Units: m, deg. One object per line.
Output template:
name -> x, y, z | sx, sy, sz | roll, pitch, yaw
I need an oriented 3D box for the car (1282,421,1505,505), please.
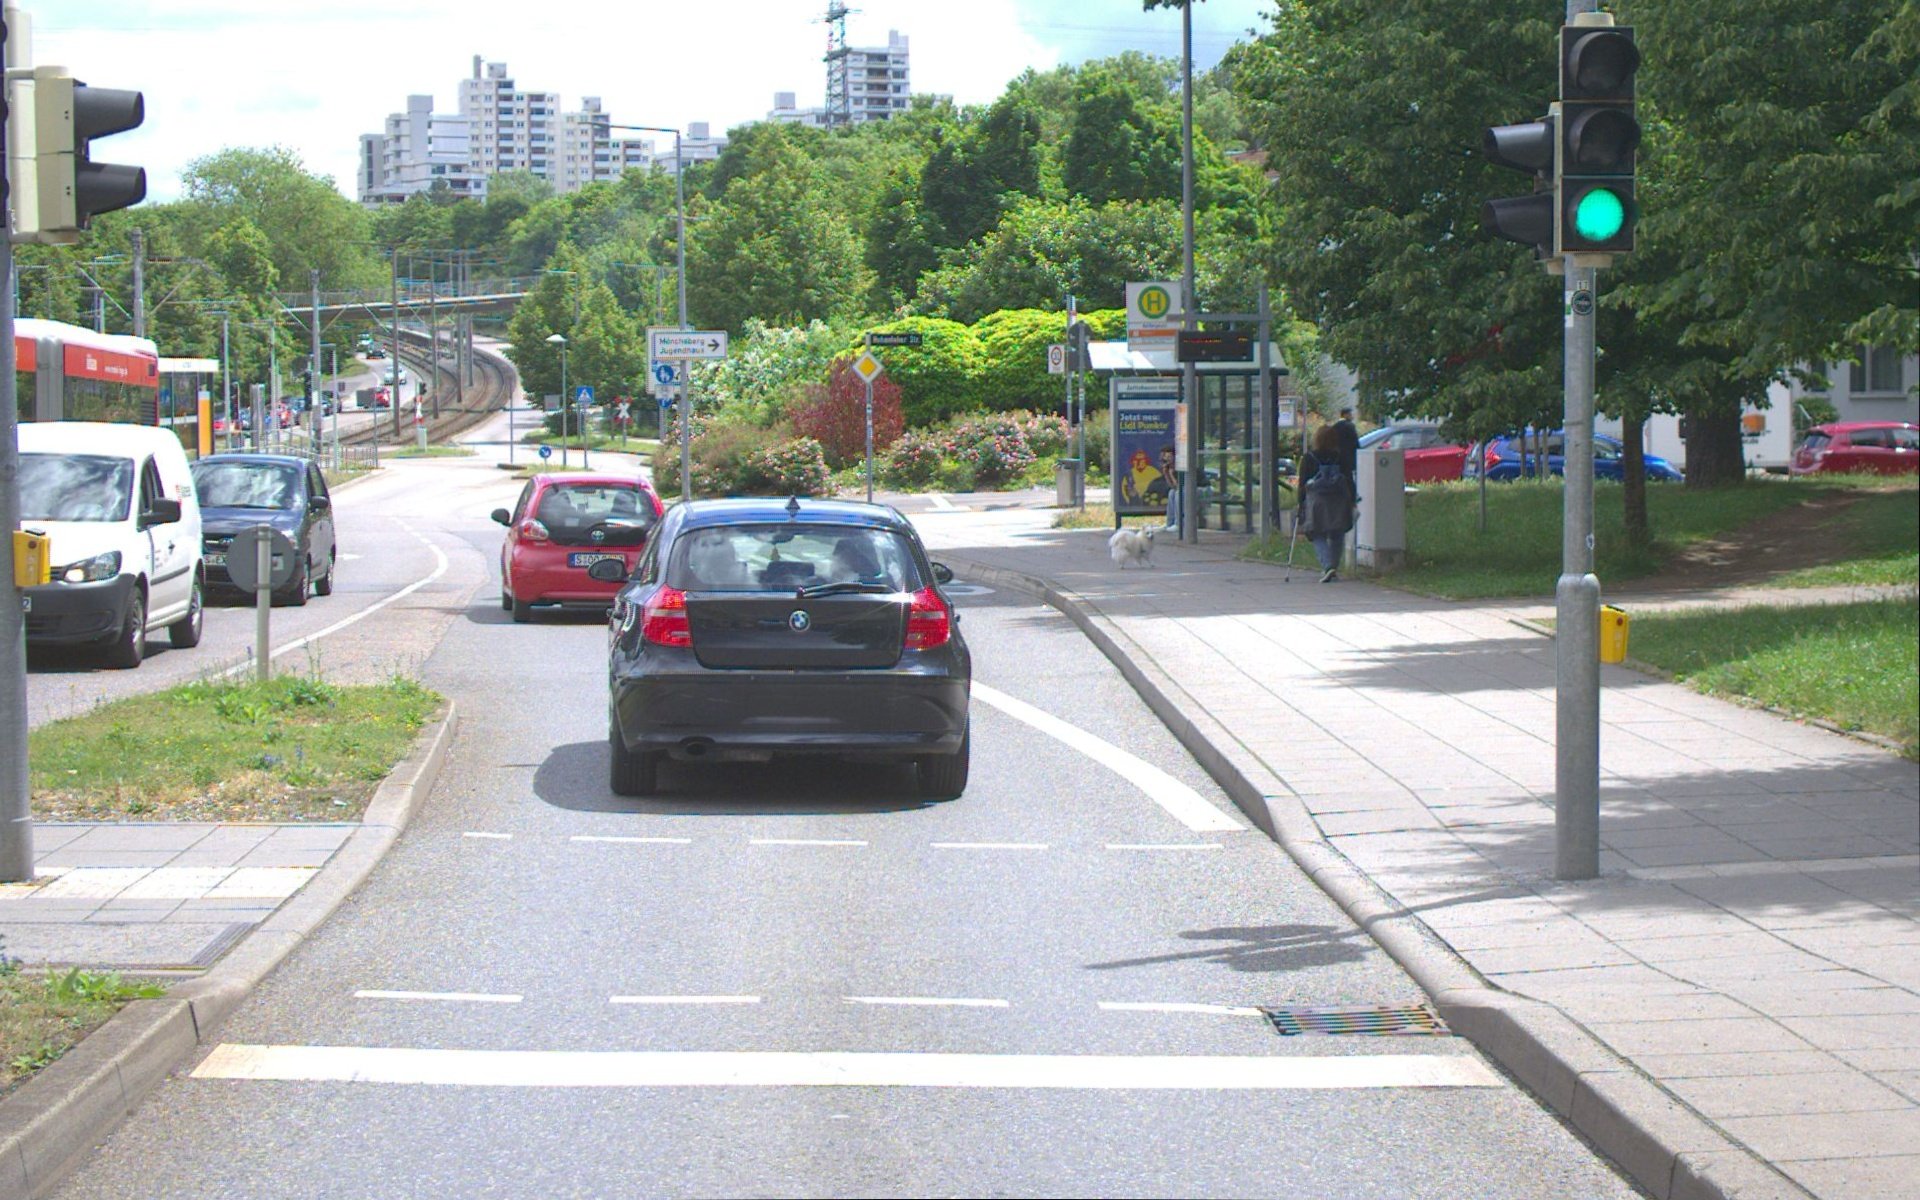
car -> 8.903, -2.840, 70.775 | 4.155, 1.556, 2.001 | -1, 5, -9

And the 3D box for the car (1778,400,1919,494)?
car -> 16.954, -2.789, 62.343 | 3.686, 1.638, 1.830 | -1, 4, -6

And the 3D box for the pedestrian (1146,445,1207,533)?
pedestrian -> 3.165, -1.626, 50.313 | 0.827, 1.254, 0.686 | -1, 3, -1

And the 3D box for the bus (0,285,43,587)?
bus -> -11.039, -1.540, 32.386 | 2.725, 3.098, 9.706 | 0, 3, -3

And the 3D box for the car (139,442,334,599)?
car -> -7.558, -0.870, 36.168 | 1.529, 1.545, 3.733 | 1, 2, -5

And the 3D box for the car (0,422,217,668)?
car -> -6.907, -0.495, 26.516 | 1.761, 1.656, 4.508 | -1, 4, -6

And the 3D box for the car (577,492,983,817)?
car -> -0.966, 0.185, 17.645 | 1.815, 1.416, 4.001 | -1, 2, -4

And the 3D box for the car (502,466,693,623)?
car -> -3.647, -0.595, 34.214 | 1.765, 1.427, 3.480 | -1, 3, -7

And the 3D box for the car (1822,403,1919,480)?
car -> 20.387, -3.361, 71.996 | 4.080, 1.497, 2.001 | -2, 4, -6

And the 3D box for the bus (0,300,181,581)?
bus -> -11.613, -1.922, 41.803 | 2.725, 3.059, 8.966 | 0, 2, -3

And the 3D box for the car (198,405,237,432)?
car -> -39.381, -9.635, 182.413 | 1.528, 1.365, 3.598 | -1, 3, -4

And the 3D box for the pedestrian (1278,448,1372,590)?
pedestrian -> 3.729, -0.835, 35.170 | 0.819, 1.419, 0.830 | -1, 2, -3

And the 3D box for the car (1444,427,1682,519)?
car -> 10.818, -2.299, 61.817 | 3.792, 1.451, 1.897 | -2, 4, -6

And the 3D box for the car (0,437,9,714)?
car -> -6.441, -0.061, 18.543 | 1.699, 1.643, 4.079 | 0, 3, -3

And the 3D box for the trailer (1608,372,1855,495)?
trailer -> 16.032, -3.492, 71.599 | 4.536, 2.478, 2.222 | 0, 4, -5
